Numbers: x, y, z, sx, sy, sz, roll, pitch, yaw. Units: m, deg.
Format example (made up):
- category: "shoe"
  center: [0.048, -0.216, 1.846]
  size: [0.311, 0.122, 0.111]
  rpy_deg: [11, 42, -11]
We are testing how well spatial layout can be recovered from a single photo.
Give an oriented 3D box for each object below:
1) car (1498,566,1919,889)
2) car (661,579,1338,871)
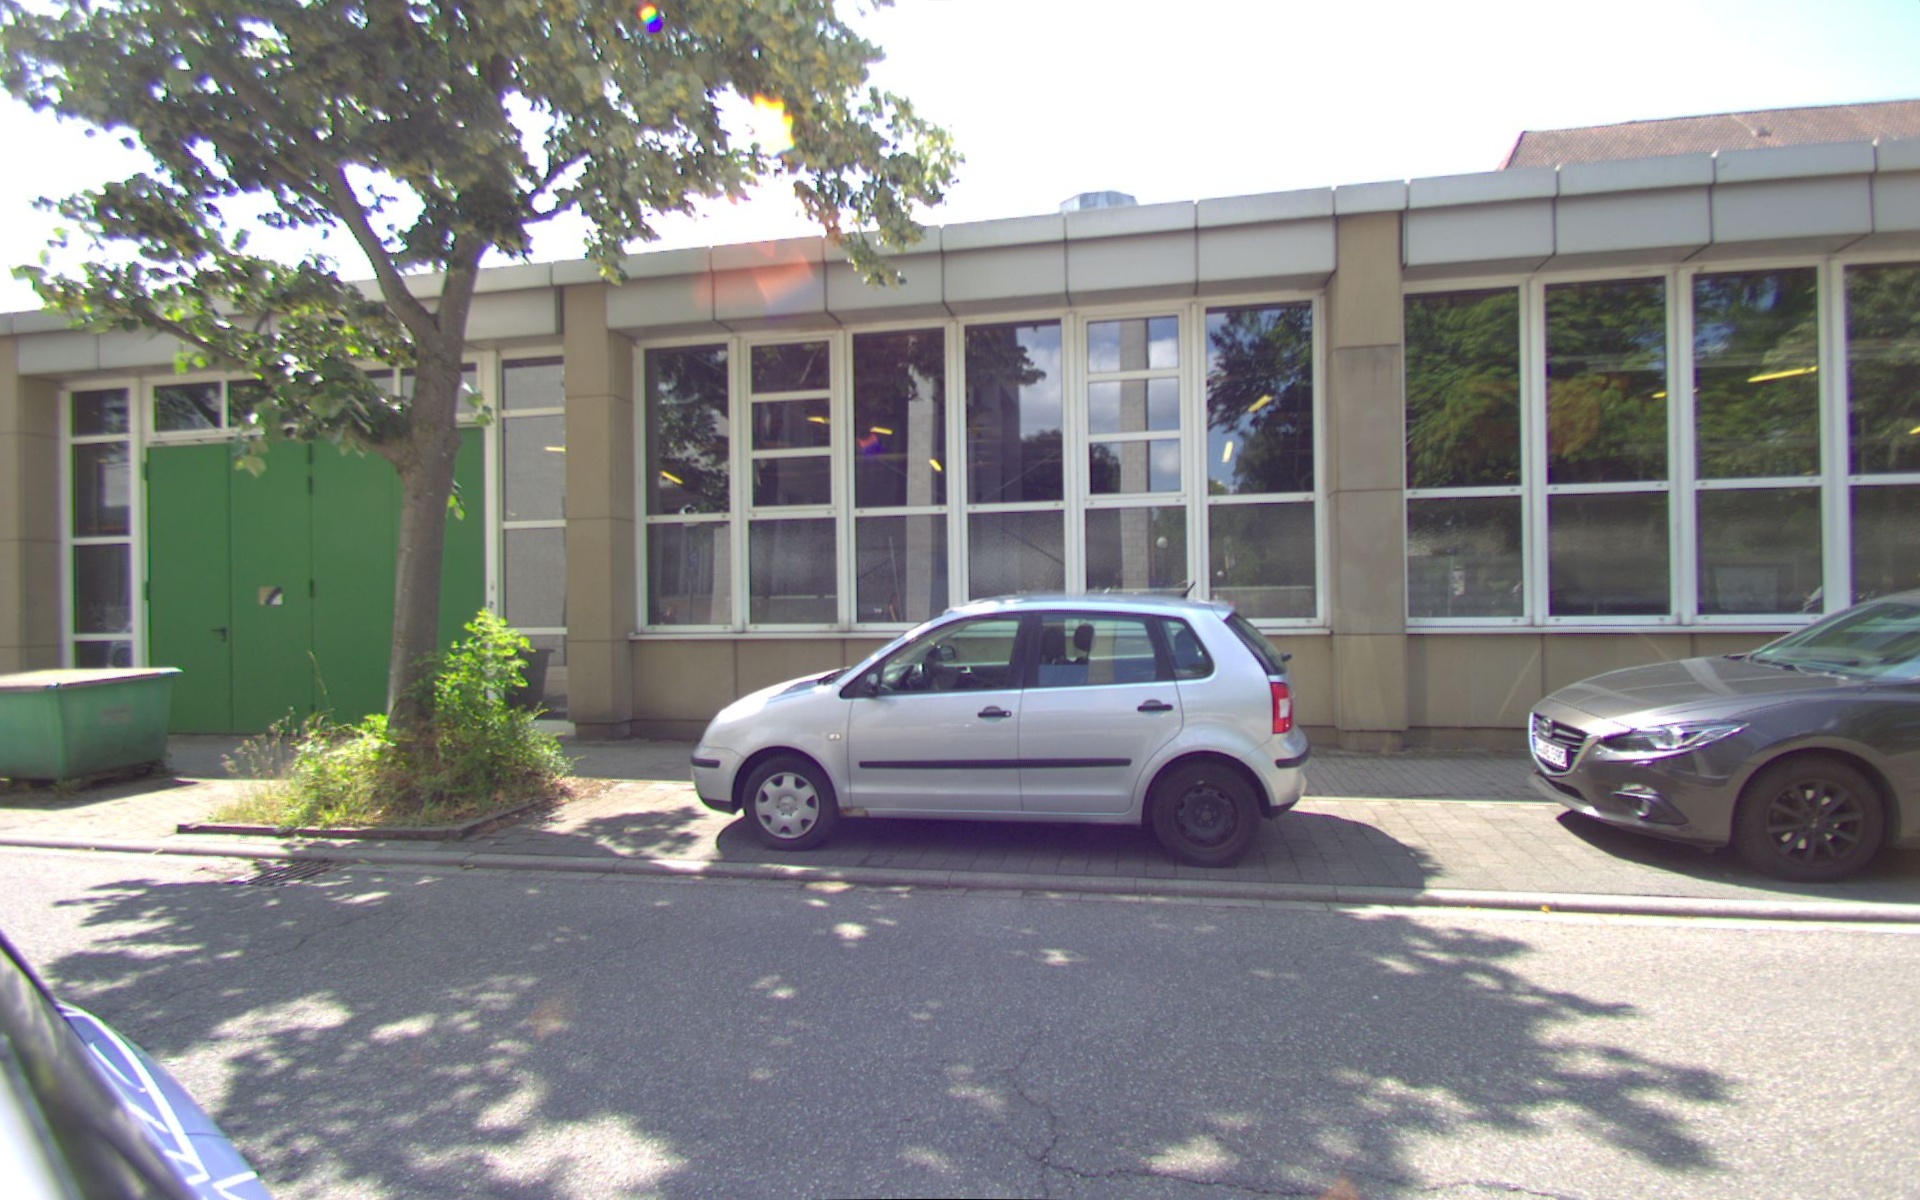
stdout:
- category: "car"
  center: [5.422, 0.564, 5.375]
  size: [4.167, 1.487, 1.648]
  rpy_deg: [-2, 1, 12]
- category: "car"
  center: [0.248, 0.661, 6.372]
  size: [3.740, 1.487, 1.647]
  rpy_deg: [-1, 1, 12]
